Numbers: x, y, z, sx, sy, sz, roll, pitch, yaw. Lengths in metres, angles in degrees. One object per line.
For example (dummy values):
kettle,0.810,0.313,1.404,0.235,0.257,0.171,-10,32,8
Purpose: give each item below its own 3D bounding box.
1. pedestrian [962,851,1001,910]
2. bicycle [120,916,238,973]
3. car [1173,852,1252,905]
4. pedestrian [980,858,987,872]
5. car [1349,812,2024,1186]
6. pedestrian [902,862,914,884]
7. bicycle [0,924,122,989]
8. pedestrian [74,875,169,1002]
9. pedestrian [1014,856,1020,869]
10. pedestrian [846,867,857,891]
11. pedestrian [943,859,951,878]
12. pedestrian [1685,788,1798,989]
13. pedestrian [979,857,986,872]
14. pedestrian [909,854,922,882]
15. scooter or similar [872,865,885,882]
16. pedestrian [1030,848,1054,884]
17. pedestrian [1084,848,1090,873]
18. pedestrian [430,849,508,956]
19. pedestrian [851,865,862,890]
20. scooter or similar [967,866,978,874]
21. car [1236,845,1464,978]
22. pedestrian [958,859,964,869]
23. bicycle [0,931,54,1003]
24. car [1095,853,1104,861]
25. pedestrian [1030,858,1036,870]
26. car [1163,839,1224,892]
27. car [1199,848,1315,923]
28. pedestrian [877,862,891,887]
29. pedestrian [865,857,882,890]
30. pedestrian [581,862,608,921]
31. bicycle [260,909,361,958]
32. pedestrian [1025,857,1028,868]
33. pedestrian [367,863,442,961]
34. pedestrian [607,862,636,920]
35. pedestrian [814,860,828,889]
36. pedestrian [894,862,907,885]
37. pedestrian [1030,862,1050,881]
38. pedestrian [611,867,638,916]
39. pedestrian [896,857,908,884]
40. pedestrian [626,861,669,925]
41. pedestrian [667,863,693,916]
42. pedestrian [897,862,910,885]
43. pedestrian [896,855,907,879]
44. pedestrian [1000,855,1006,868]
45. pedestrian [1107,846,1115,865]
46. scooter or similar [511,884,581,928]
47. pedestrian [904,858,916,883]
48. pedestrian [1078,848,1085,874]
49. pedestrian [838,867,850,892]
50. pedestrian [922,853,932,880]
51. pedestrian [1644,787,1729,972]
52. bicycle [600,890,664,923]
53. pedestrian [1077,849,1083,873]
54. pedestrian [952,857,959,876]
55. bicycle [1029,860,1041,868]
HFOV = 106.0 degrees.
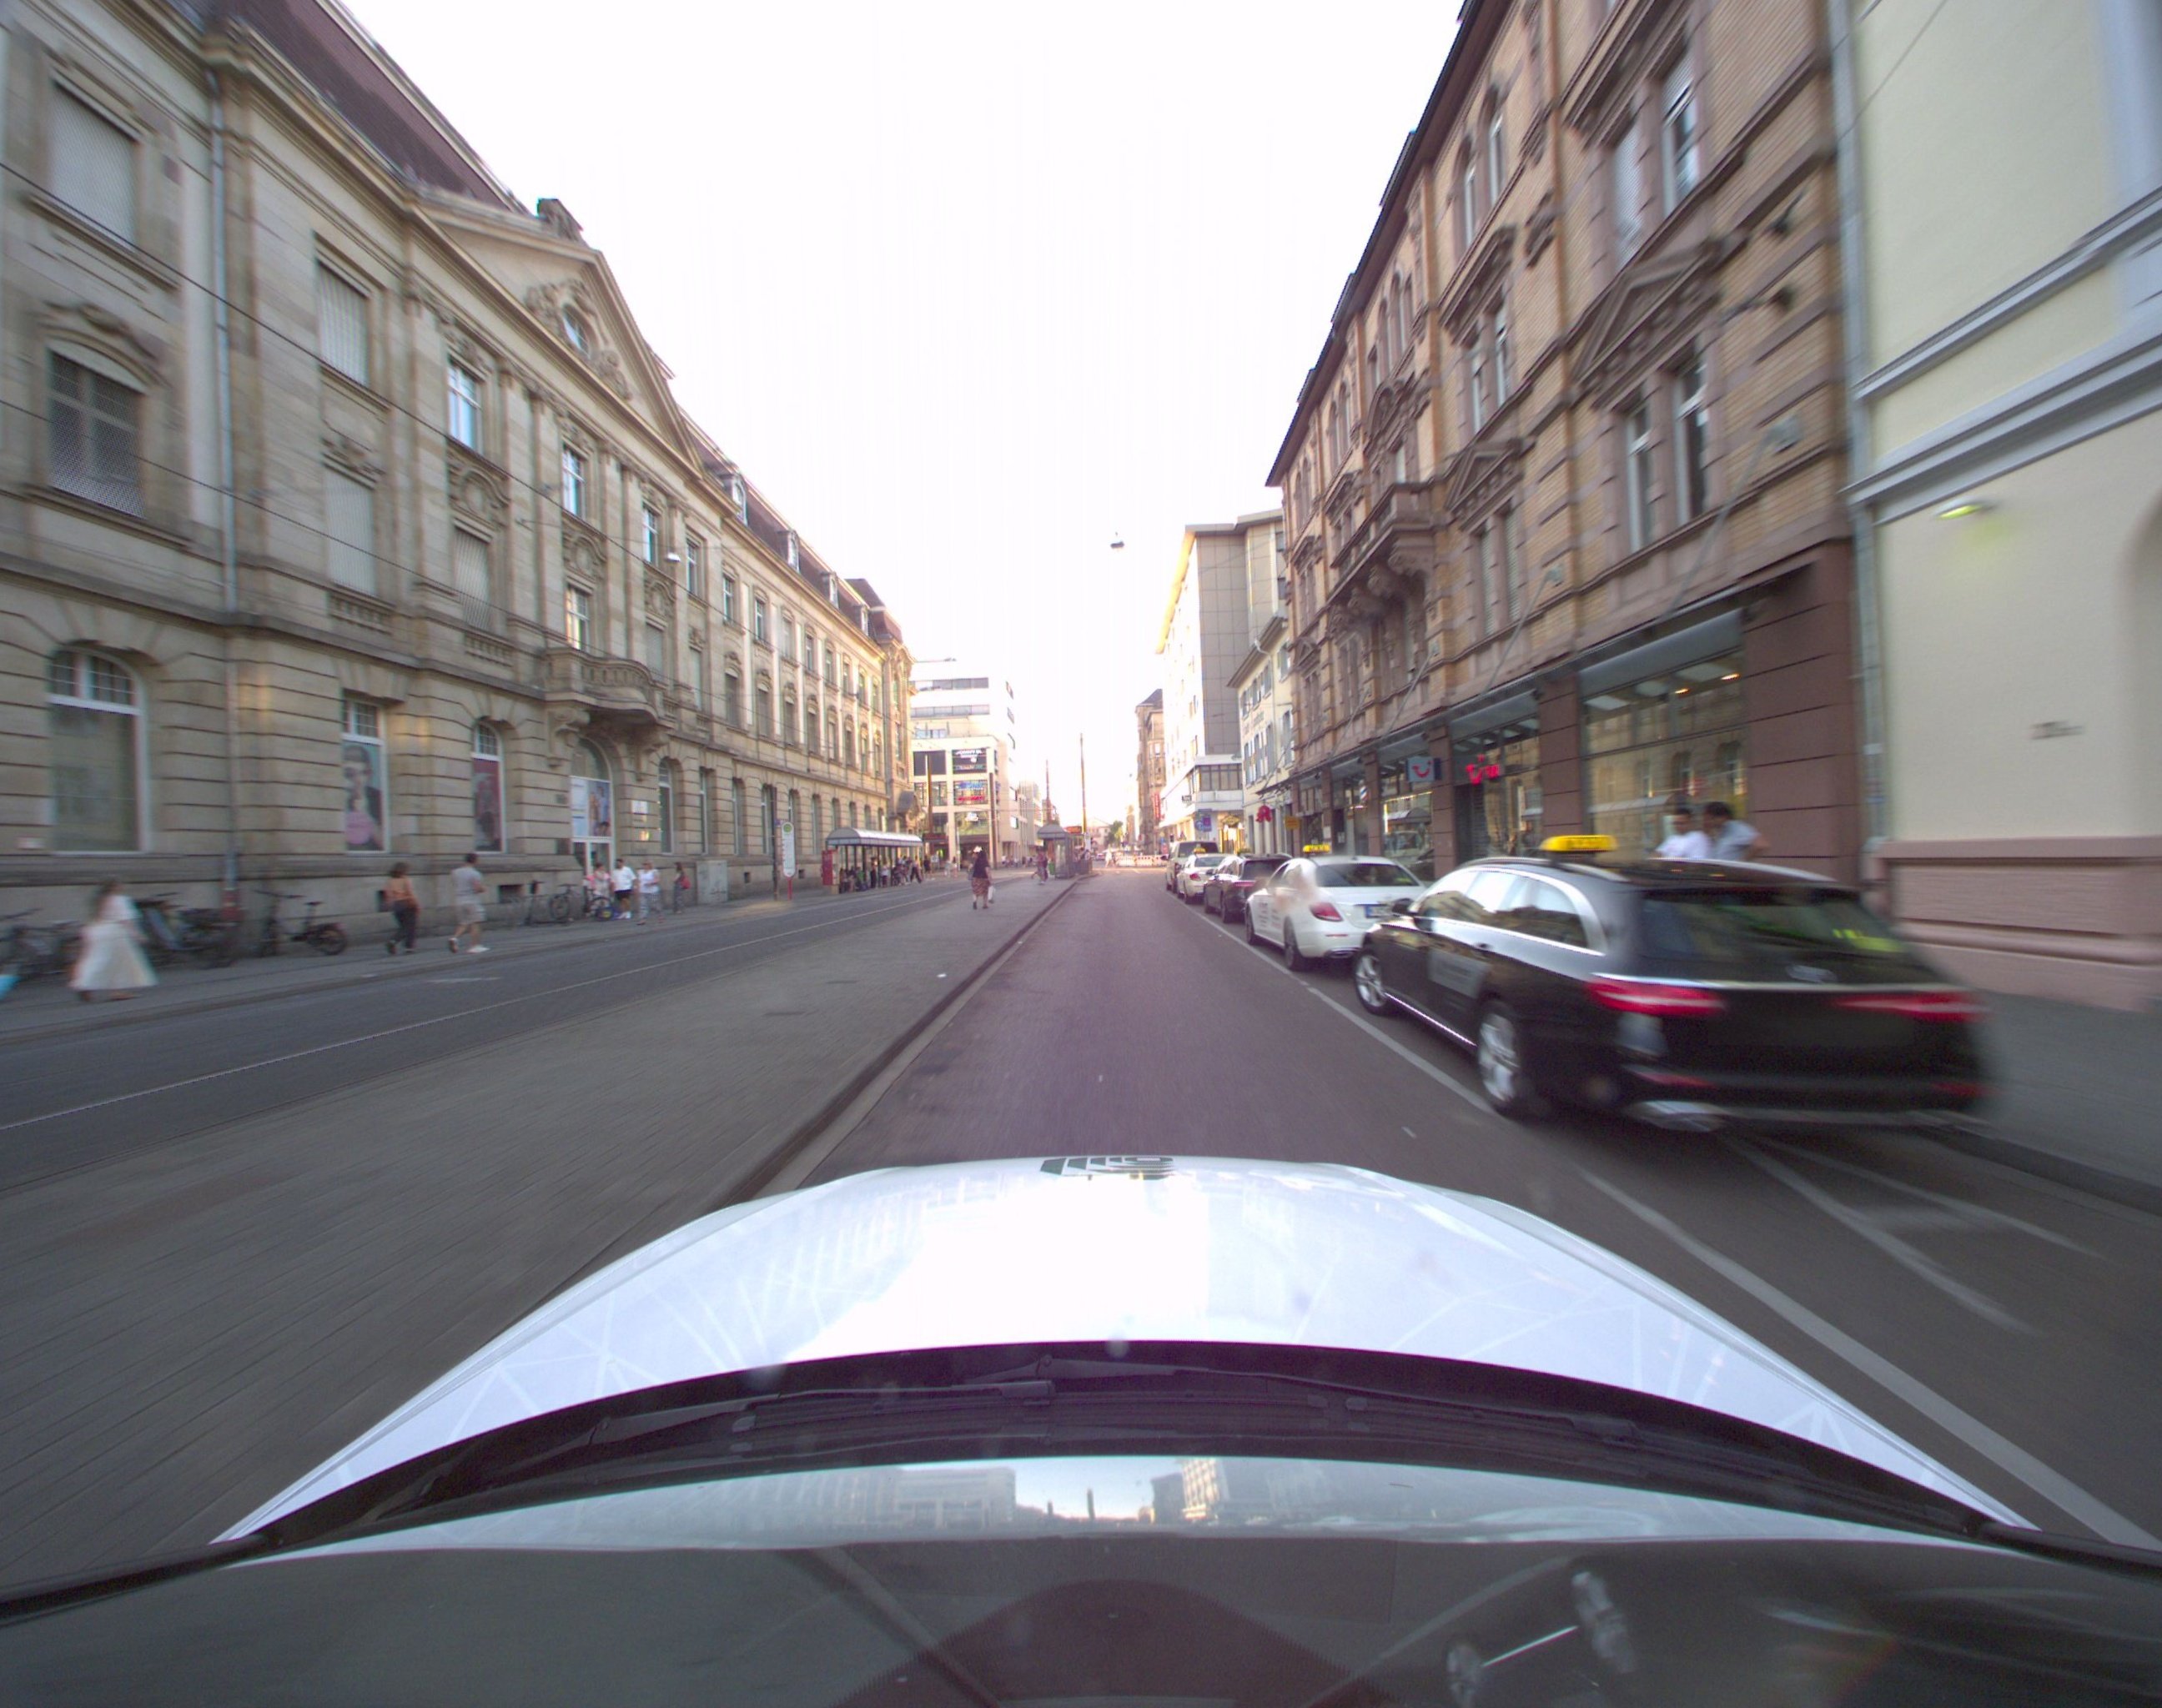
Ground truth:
pedestrian,-2.625,0.691,21.497,0.843,1.501,0.901,-2,0,1
bicycle,-14.814,1.485,13.381,1.567,0.874,0.451,-1,-1,6
car,3.958,0.675,25.243,1.799,1.483,4.779,0,0,1
pedestrian,-10.600,1.193,88.835,0.636,1.420,0.419,-2,0,3
car,3.326,0.636,5.744,1.725,1.590,4.447,0,-1,5
pedestrian,-10.313,1.129,48.637,0.515,1.327,0.639,-2,-1,5
bicycle,-14.823,1.479,11.756,1.567,0.874,0.451,-1,-1,6
pedestrian,-11.779,1.009,10.004,0.549,1.466,0.699,-2,0,36
pedestrian,-8.350,1.109,106.551,0.644,1.674,0.532,-2,0,9
pedestrian,-10.720,1.170,38.068,0.362,1.102,0.430,-1,-1,7
pedestrian,-11.039,1.204,67.253,0.515,1.525,0.502,-2,0,5
pedestrian,6.147,0.309,7.607,0.372,1.768,0.663,-4,0,-2
pedestrian,-10.508,1.135,86.852,0.568,1.593,0.448,-2,-1,-1
pedestrian,-10.083,0.836,49.603,0.675,1.691,0.635,-2,-1,-11
scooter or similar,-14.087,1.352,56.766,0.484,1.182,1.294,-1,-1,4
pedestrian,-1.792,0.547,37.438,0.679,1.638,0.866,-2,0,42
pedestrian,0.443,0.498,59.781,0.340,1.796,0.544,-1,-1,-1
pedestrian,-10.764,0.833,14.341,0.690,1.813,0.815,-2,0,1
pedestrian,-10.739,1.109,38.915,0.362,1.200,0.430,-1,-1,7
scooter or similar,-11.832,1.740,88.813,1.089,0.904,0.891,-2,0,2
car,3.521,0.680,11.708,1.726,1.511,4.865,0,-1,1
pedestrian,-17.426,1.435,118.325,0.569,1.526,0.793,-1,-1,13
bicycle,-14.357,1.469,10.595,1.567,0.874,0.451,-1,-1,6
car,4.261,0.679,189.653,1.986,1.904,4.000,-1,-1,1
pedestrian,-6.657,1.381,113.123,0.780,1.751,0.600,-1,-1,-2
car,4.316,0.429,31.917,1.870,1.923,4.701,0,-1,1
car,3.898,0.663,18.830,1.720,1.477,4.821,-1,-1,1
pedestrian,-10.763,1.097,44.405,0.515,1.327,0.639,-2,-1,5
pedestrian,-10.696,1.009,41.985,0.513,1.650,0.641,-2,-1,23
pedestrian,-13.703,1.040,22.931,0.333,1.642,0.607,-1,-1,9
bicycle,-14.414,1.487,15.247,1.567,0.874,0.451,-1,-1,6
pedestrian,-7.515,1.138,112.438,0.388,1.515,0.505,-2,-1,0
pedestrian,-12.428,1.041,14.971,0.685,1.712,0.820,-2,0,29
pedestrian,-13.244,1.061,23.459,0.473,1.642,0.563,-1,-1,5
pedestrian,-14.355,1.114,44.949,0.660,1.562,0.677,-2,0,-13
pedestrian,-10.435,1.116,46.999,0.515,1.327,0.639,-2,-1,5
pedestrian,-2.125,0.930,42.477,0.791,0.939,0.697,-2,0,24
pedestrian,-13.737,1.129,24.530,0.435,1.440,0.575,-2,-1,38
pedestrian,-11.216,1.009,50.950,0.515,1.646,0.639,-2,-1,5
pedestrian,-10.890,0.970,20.478,0.657,1.562,0.680,-2,0,1
pedestrian,-12.468,1.097,25.316,0.566,1.605,0.442,-1,-1,11
pedestrian,-10.413,1.123,47.767,0.515,1.327,0.639,-2,-1,5
pedestrian,-13.290,0.950,60.216,0.619,1.776,0.705,-2,0,-2
pedestrian,-11.076,1.089,115.112,0.569,1.855,0.819,-1,-1,13
pedestrian,2.898,0.128,77.587,0.696,1.815,0.853,-1,-1,4
scooter or similar,-13.710,1.323,20.865,1.539,1.068,0.451,-1,-1,6
pedestrian,-10.846,1.027,51.710,0.515,1.569,0.639,-2,-1,5
pedestrian,0.033,0.462,53.954,0.410,1.767,0.594,-1,-1,-1
pedestrian,-10.893,1.167,37.485,0.362,1.102,0.430,-1,-1,7
pedestrian,-10.357,0.862,54.833,0.558,1.776,0.468,-2,0,-3
pedestrian,6.019,0.251,8.116,0.372,1.768,0.455,-4,0,-2
bicycle,-12.556,1.463,22.769,1.567,0.874,0.451,-1,-1,6
pedestrian,-0.100,0.481,56.968,0.384,1.642,0.549,-1,-1,-1
pedestrian,-10.312,1.052,67.054,0.526,1.525,0.500,-2,0,-13
bicycle,-6.726,1.521,120.216,1.689,1.122,0.451,-1,-1,3
